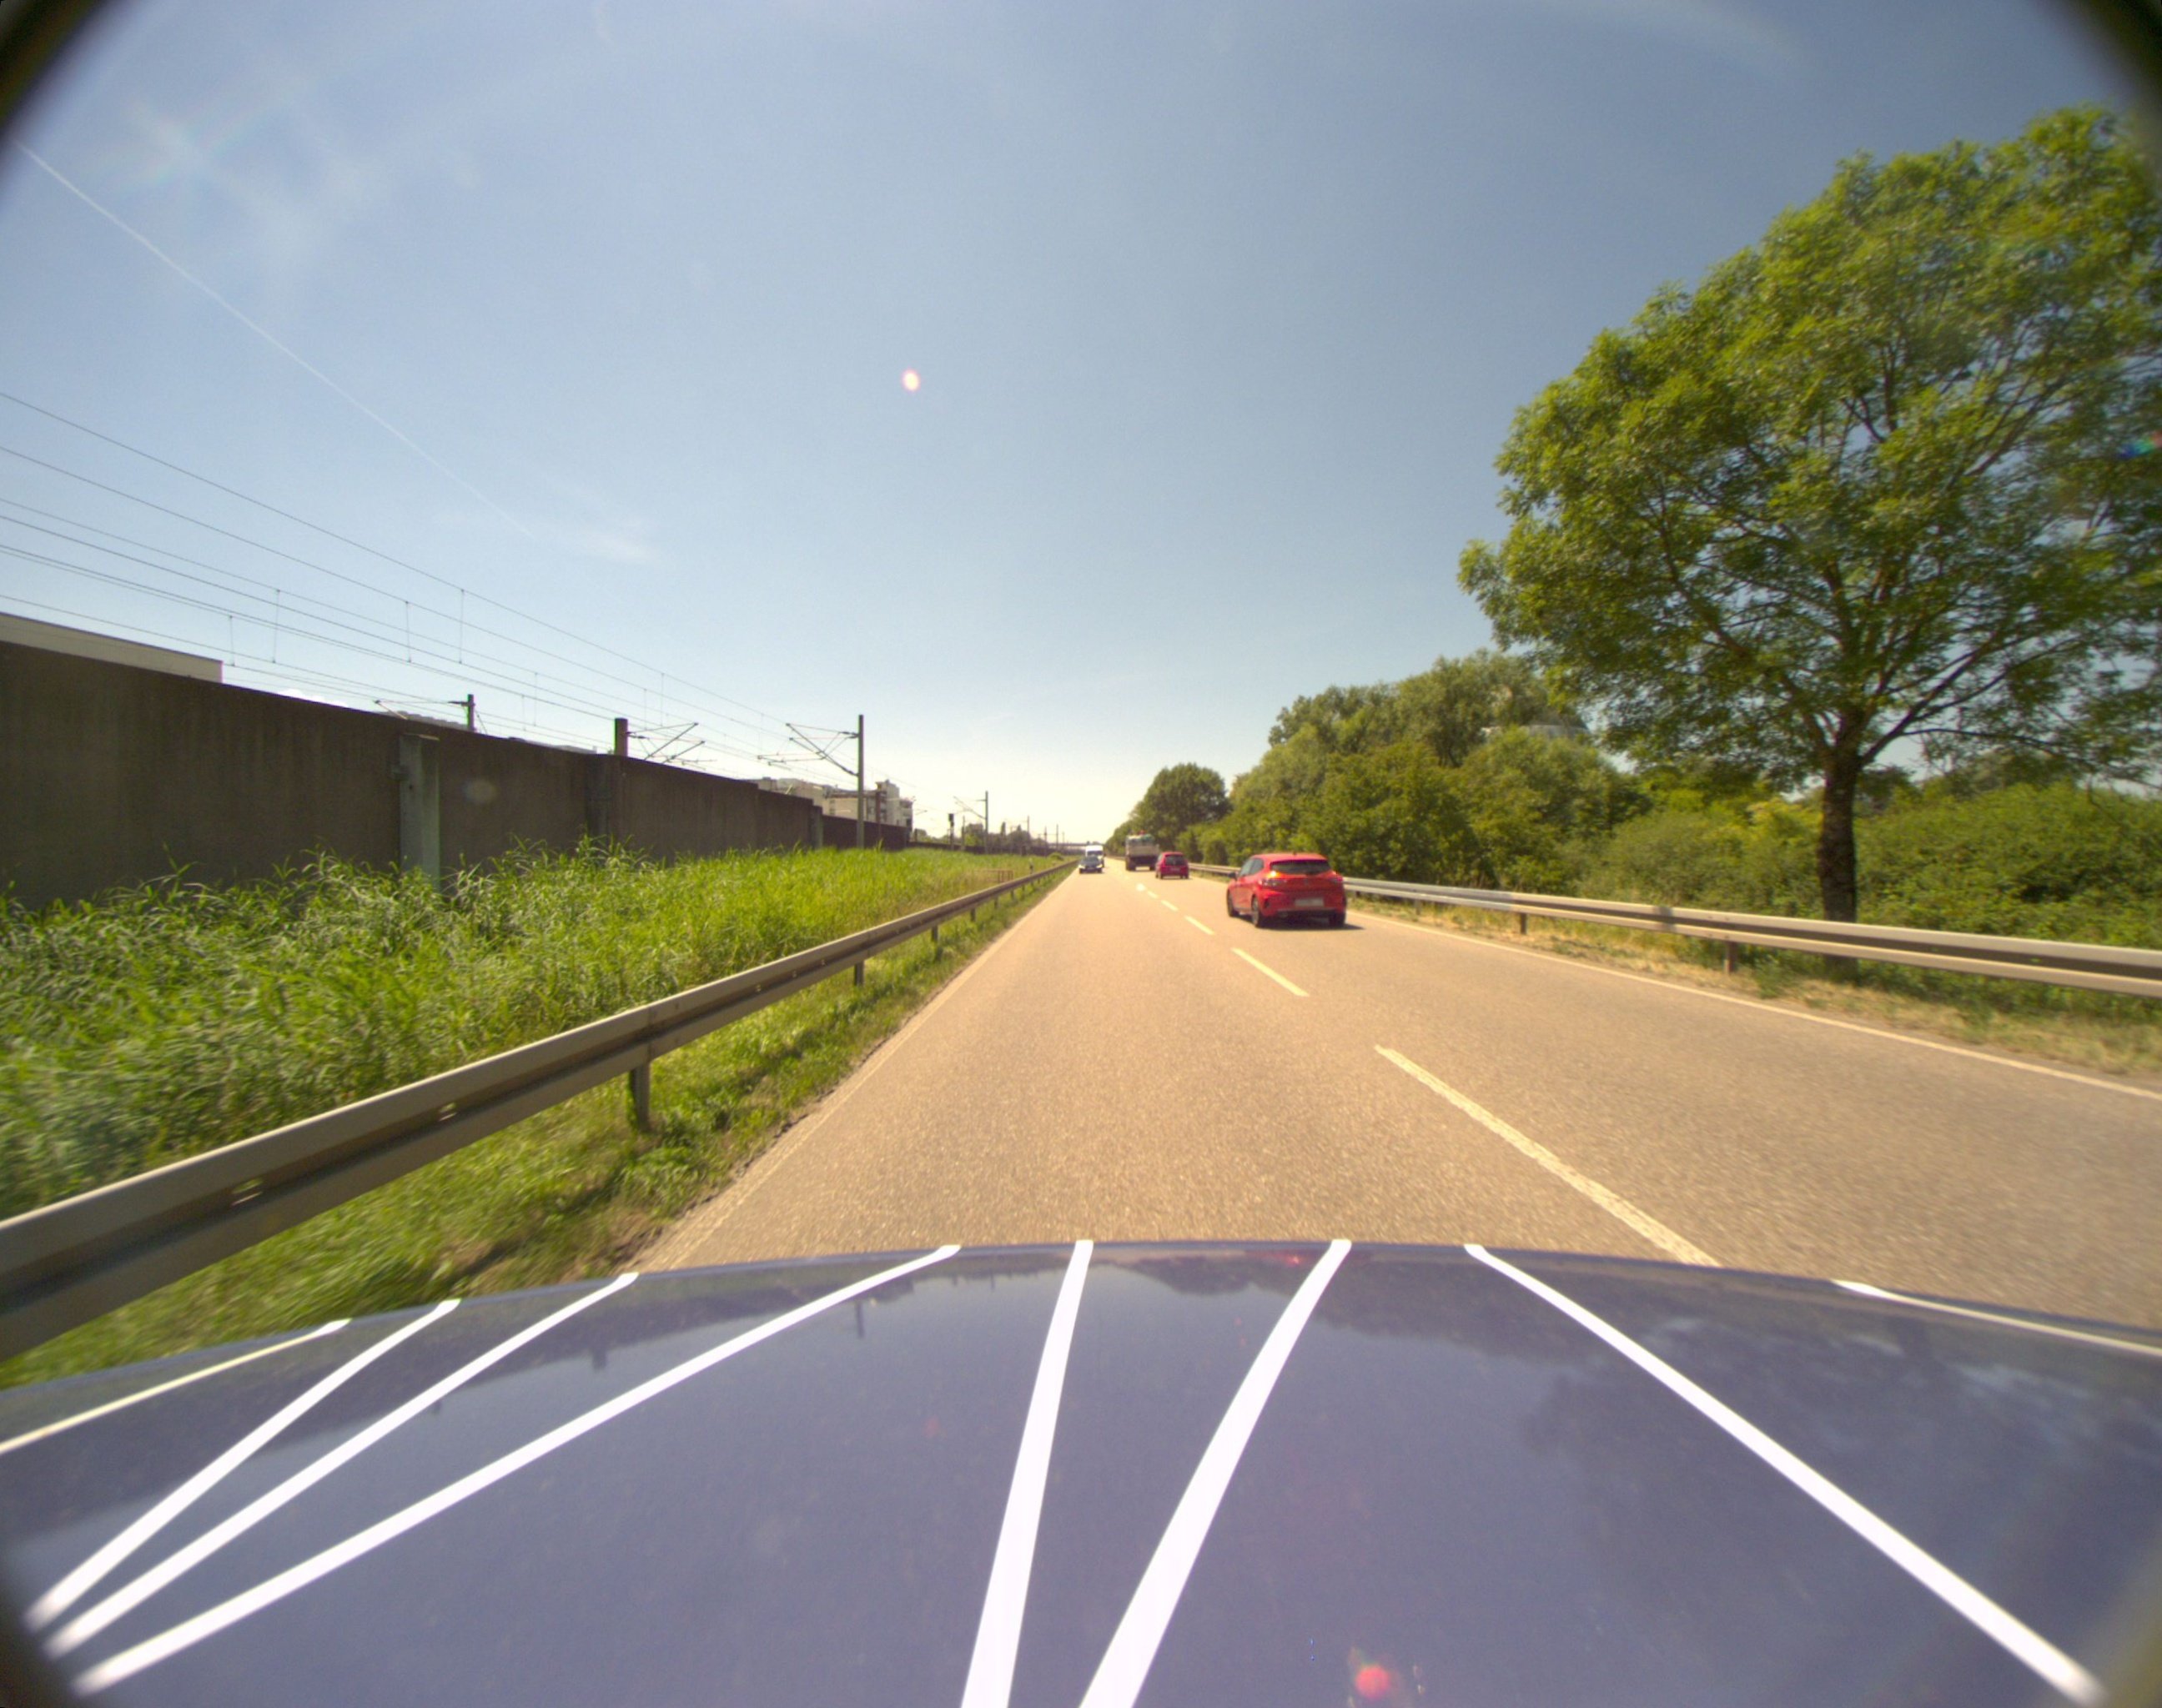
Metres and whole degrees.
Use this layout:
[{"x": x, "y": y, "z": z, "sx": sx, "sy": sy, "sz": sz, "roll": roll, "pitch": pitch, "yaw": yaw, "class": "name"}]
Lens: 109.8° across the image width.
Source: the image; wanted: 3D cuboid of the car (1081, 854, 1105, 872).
[{"x": 0.969, "y": 0.687, "z": 59.343, "sx": 1.758, "sy": 1.313, "sz": 4.000, "roll": -2, "pitch": 0, "yaw": 1, "class": "car"}]

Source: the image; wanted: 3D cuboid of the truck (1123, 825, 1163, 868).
[{"x": 5.274, "y": -0.654, "z": 66.199, "sx": 2.790, "sy": 3.385, "sz": 7.988, "roll": -2, "pitch": 0, "yaw": 1, "class": "truck"}]

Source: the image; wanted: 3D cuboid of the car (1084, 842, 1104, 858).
[{"x": 1.475, "y": -0.467, "z": 84.828, "sx": 2.161, "sy": 1.701, "sz": 4.493, "roll": -2, "pitch": 0, "yaw": 1, "class": "car"}]

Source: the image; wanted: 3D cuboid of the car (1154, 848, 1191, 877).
[{"x": 5.281, "y": 0.463, "z": 44.257, "sx": 1.657, "sy": 1.543, "sz": 4.000, "roll": -1, "pitch": 0, "yaw": 0, "class": "car"}]

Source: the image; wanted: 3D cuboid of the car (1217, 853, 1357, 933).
[{"x": 4.147, "y": 0.720, "z": 15.988, "sx": 1.794, "sy": 1.413, "sz": 3.999, "roll": -1, "pitch": 0, "yaw": -1, "class": "car"}]
